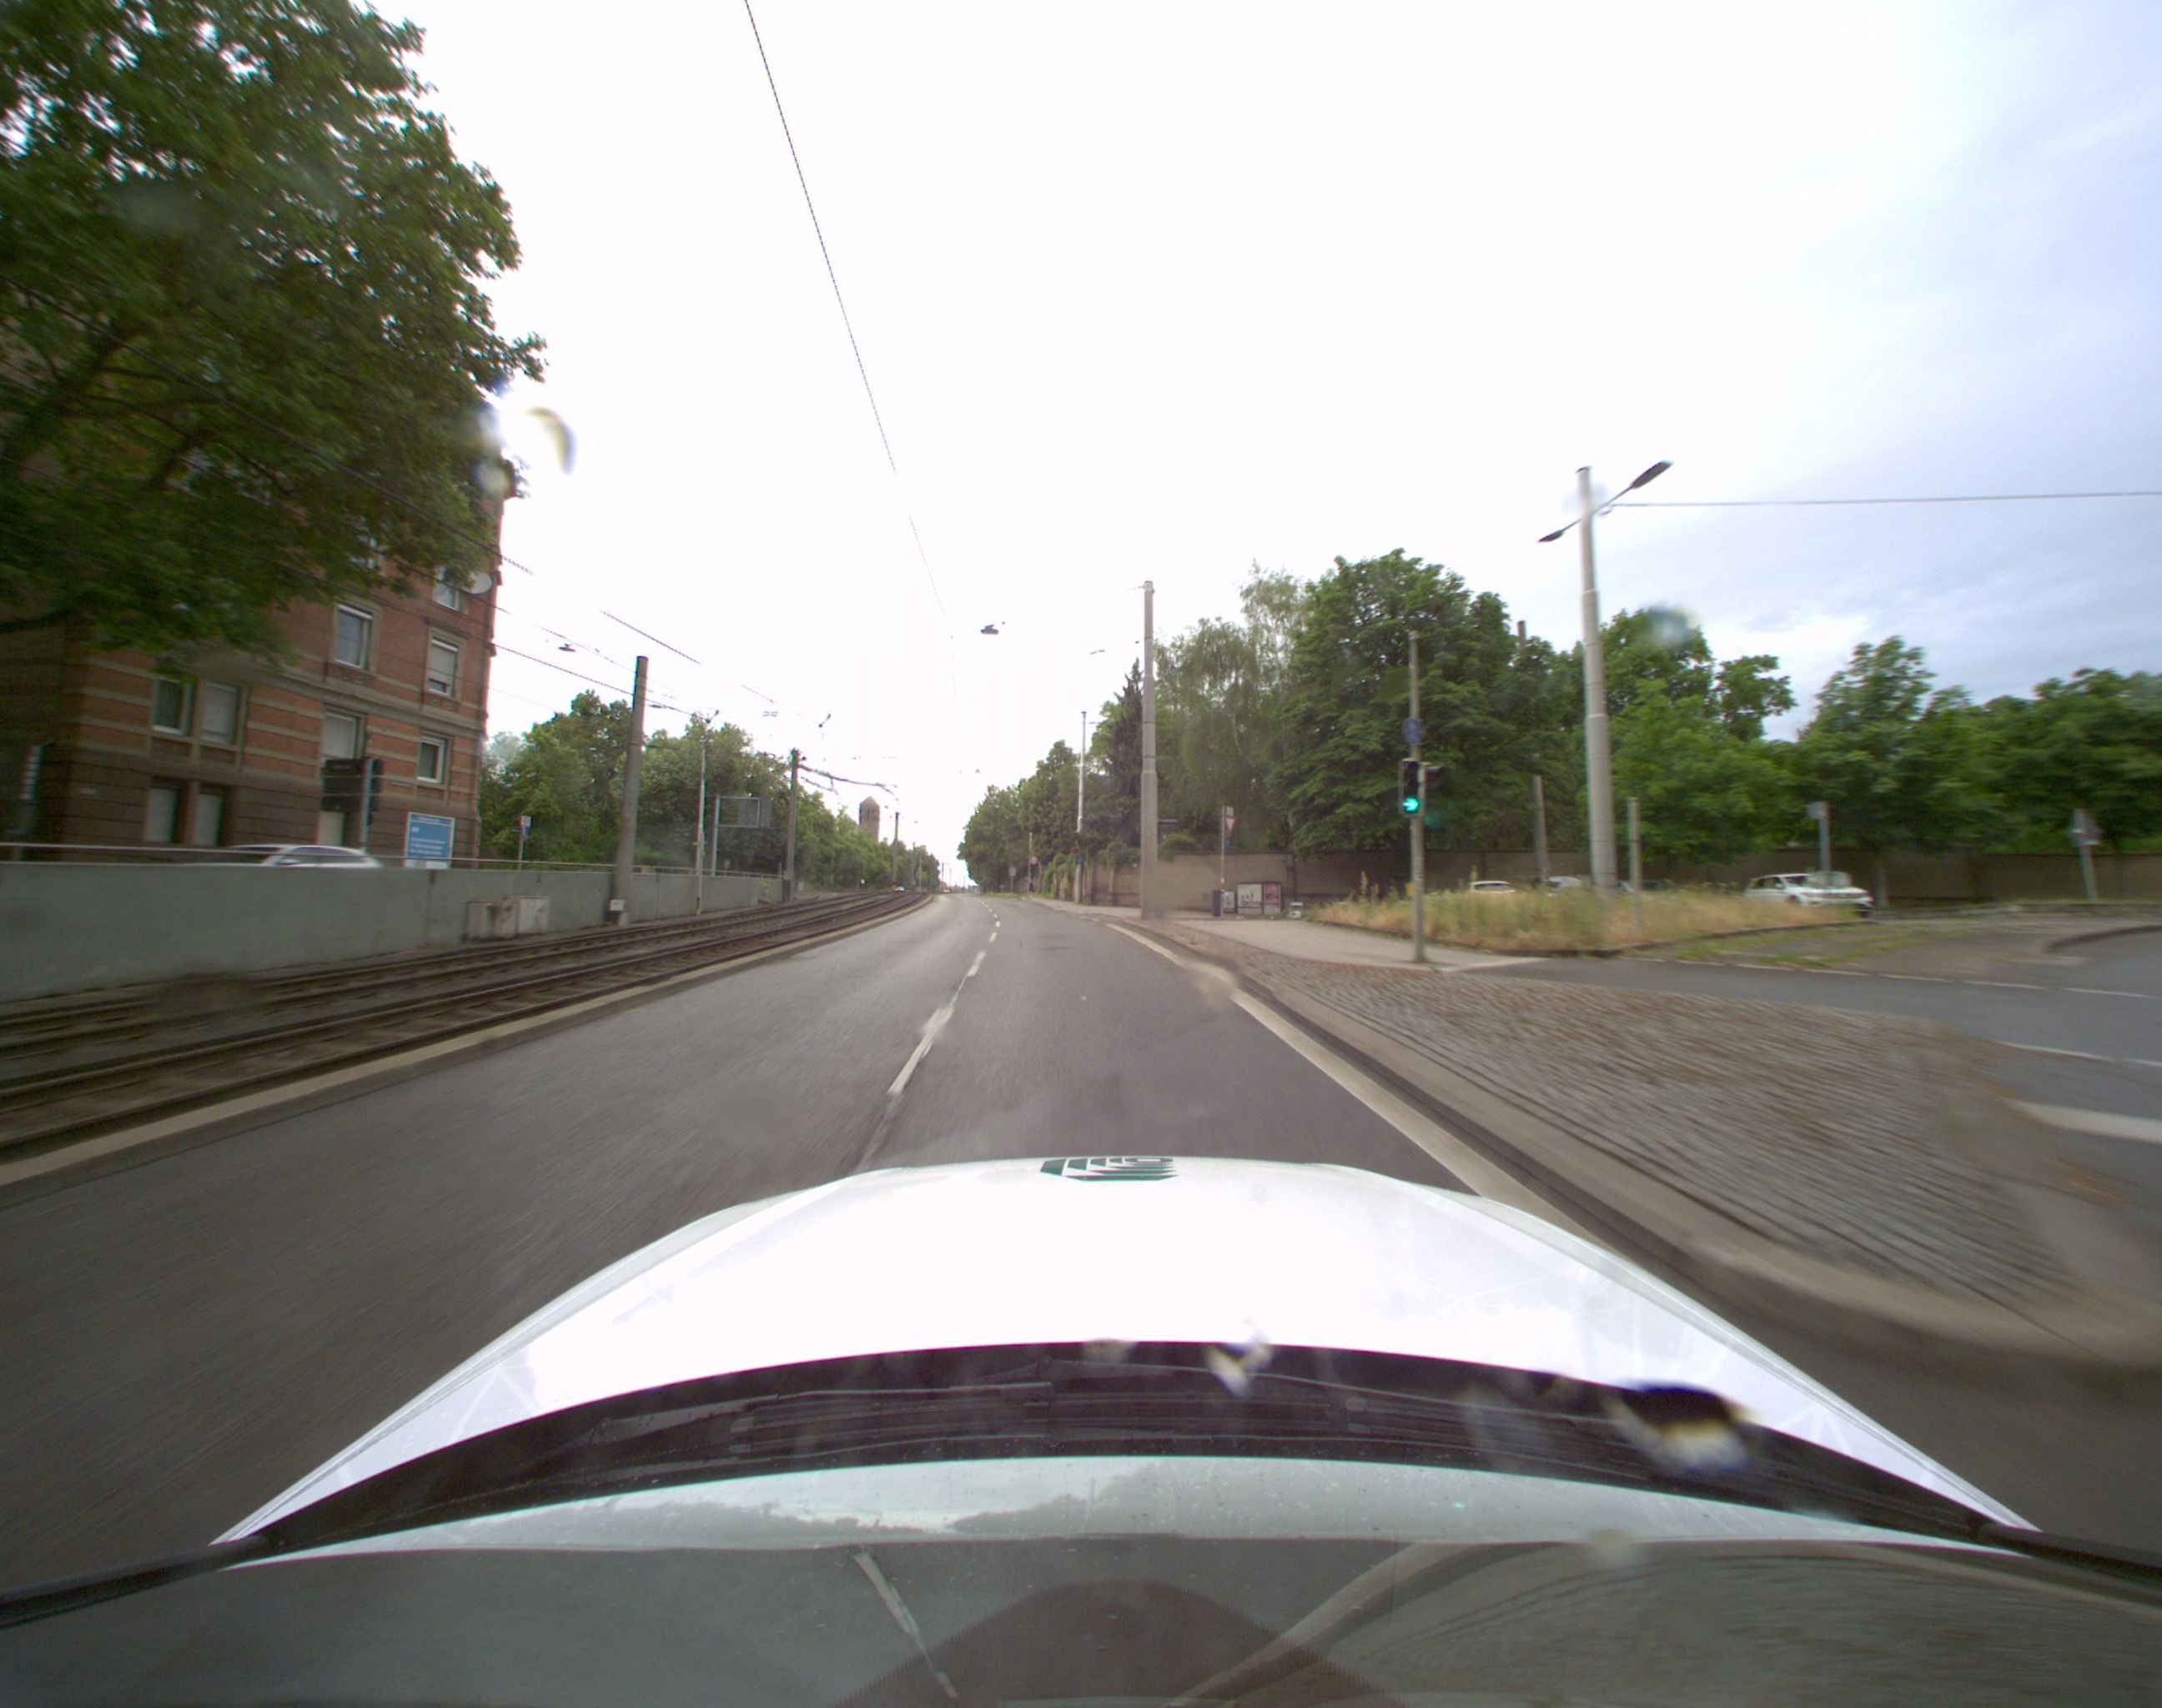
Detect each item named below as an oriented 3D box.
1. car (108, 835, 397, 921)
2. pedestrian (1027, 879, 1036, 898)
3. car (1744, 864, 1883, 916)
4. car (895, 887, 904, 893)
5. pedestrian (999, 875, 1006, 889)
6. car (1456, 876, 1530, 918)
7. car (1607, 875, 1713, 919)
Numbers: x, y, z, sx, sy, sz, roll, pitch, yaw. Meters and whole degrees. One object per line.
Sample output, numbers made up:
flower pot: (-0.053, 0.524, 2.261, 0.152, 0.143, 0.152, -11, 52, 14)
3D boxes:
car: (-18.086, 0.535, 18.165, 1.788, 1.612, 4.359, 2, -2, 1)
pedestrian: (-4.929, 3.457, 80.837, 0.719, 1.850, 0.781, 3, -3, -8)
car: (24.132, 1.269, 27.053, 1.769, 1.557, 4.236, -2, -5, 18)
car: (-47.203, 9.388, 211.847, 1.793, 1.510, 3.837, 1, -2, -8)
pedestrian: (-9.872, 3.494, 102.373, 0.719, 1.688, 0.727, 3, -3, -8)
car: (14.848, 1.579, 29.549, 1.739, 1.407, 4.017, -1, -4, 18)
car: (19.578, 1.496, 27.747, 1.769, 1.391, 4.017, -1, -4, 18)
